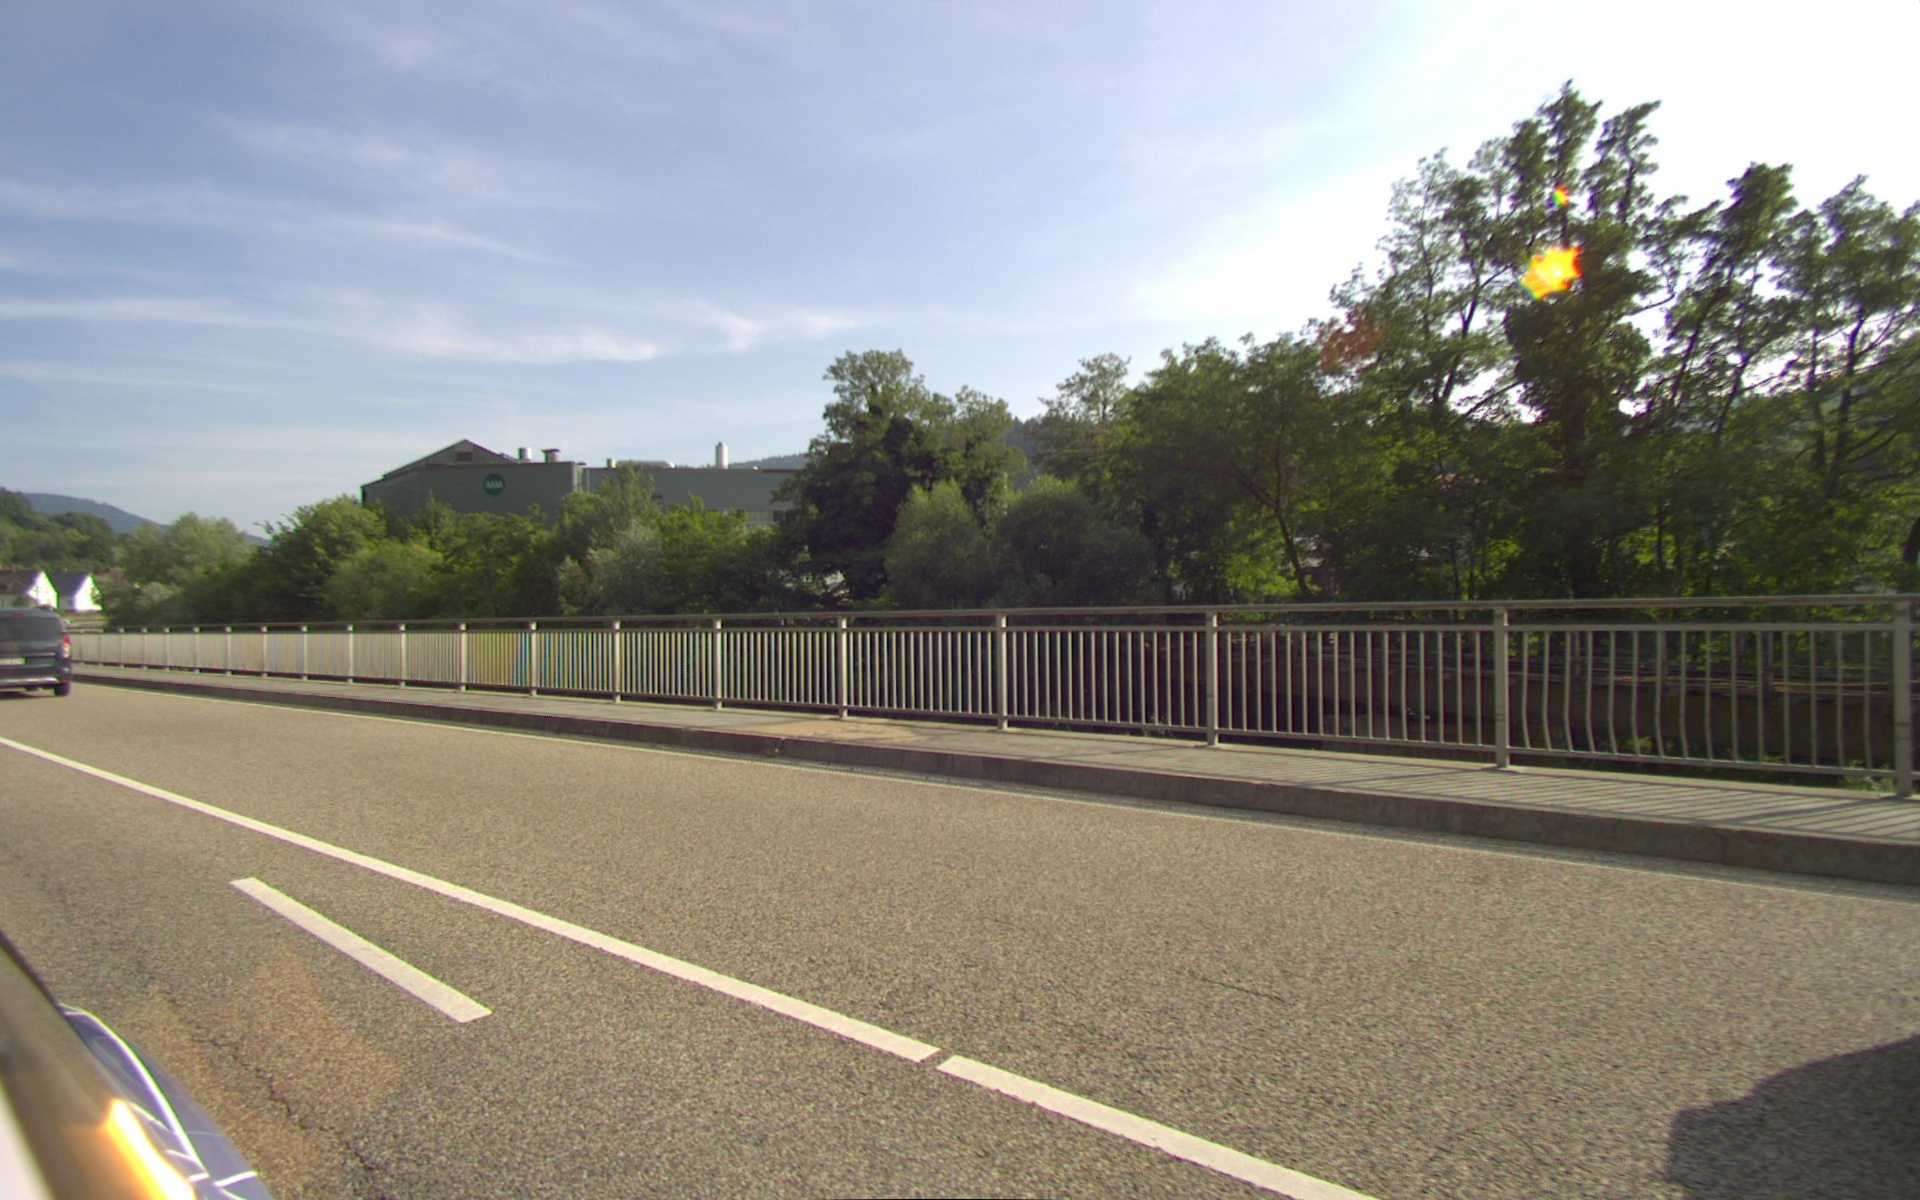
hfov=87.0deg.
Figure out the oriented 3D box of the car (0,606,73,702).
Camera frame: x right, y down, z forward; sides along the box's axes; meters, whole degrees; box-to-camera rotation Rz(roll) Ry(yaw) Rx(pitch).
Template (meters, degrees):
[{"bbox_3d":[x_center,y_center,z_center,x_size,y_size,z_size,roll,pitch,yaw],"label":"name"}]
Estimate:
[{"bbox_3d":[-20.120,1.081,20.906,4.820,1.842,1.775,-2,-2,37],"label":"car"}]
